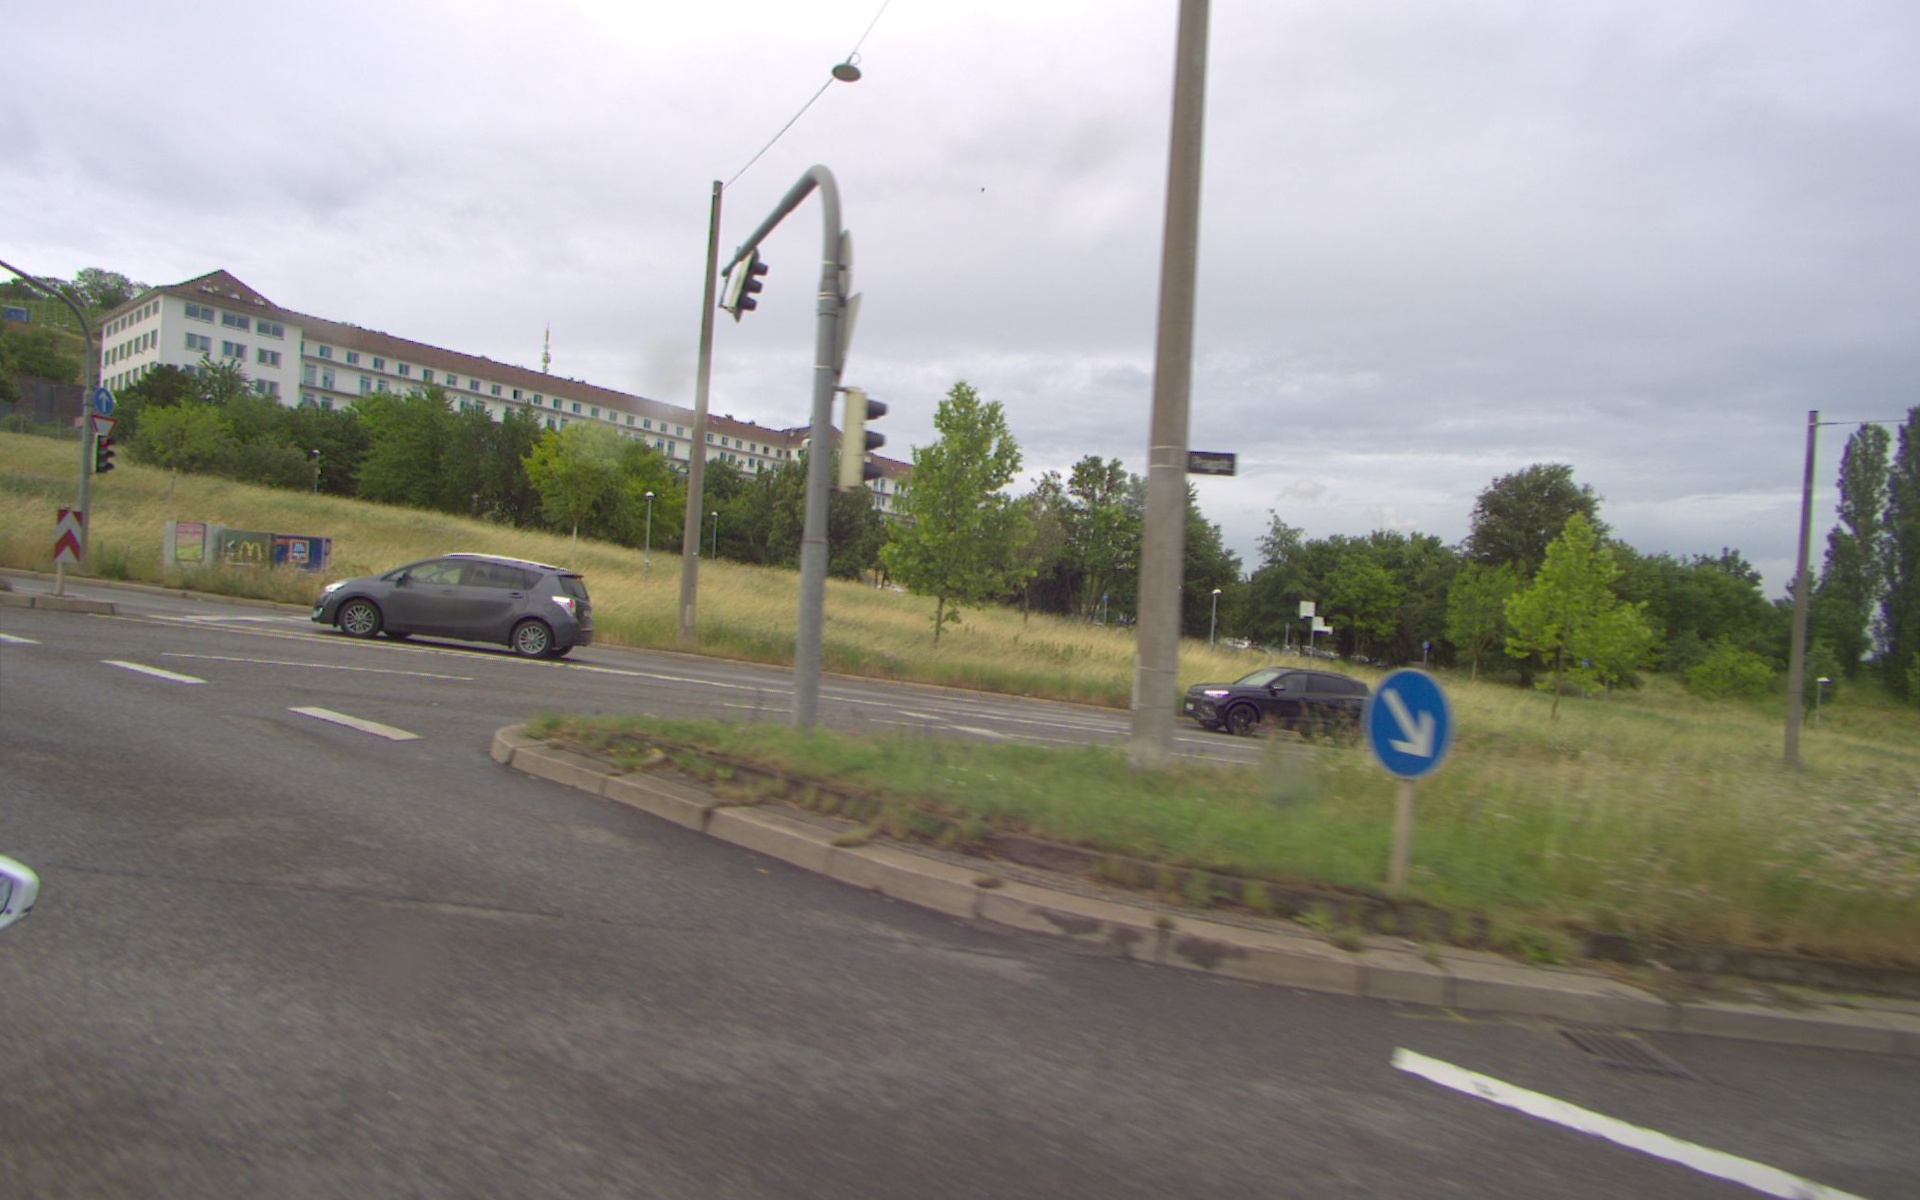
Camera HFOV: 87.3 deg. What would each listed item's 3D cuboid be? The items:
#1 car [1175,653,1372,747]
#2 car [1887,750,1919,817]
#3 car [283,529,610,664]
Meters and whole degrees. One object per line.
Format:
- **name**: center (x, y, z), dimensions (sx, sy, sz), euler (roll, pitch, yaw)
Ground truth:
- **car**: center (7.135, 2.263, 23.074), dimensions (3.819, 1.660, 1.721), euler (7, -3, -6)
- **car**: center (24.103, 4.516, 23.233), dimensions (3.931, 1.444, 1.746), euler (7, -1, -7)
- **car**: center (-8.801, -0.023, 17.666), dimensions (4.549, 1.661, 1.998), euler (8, -1, -8)
